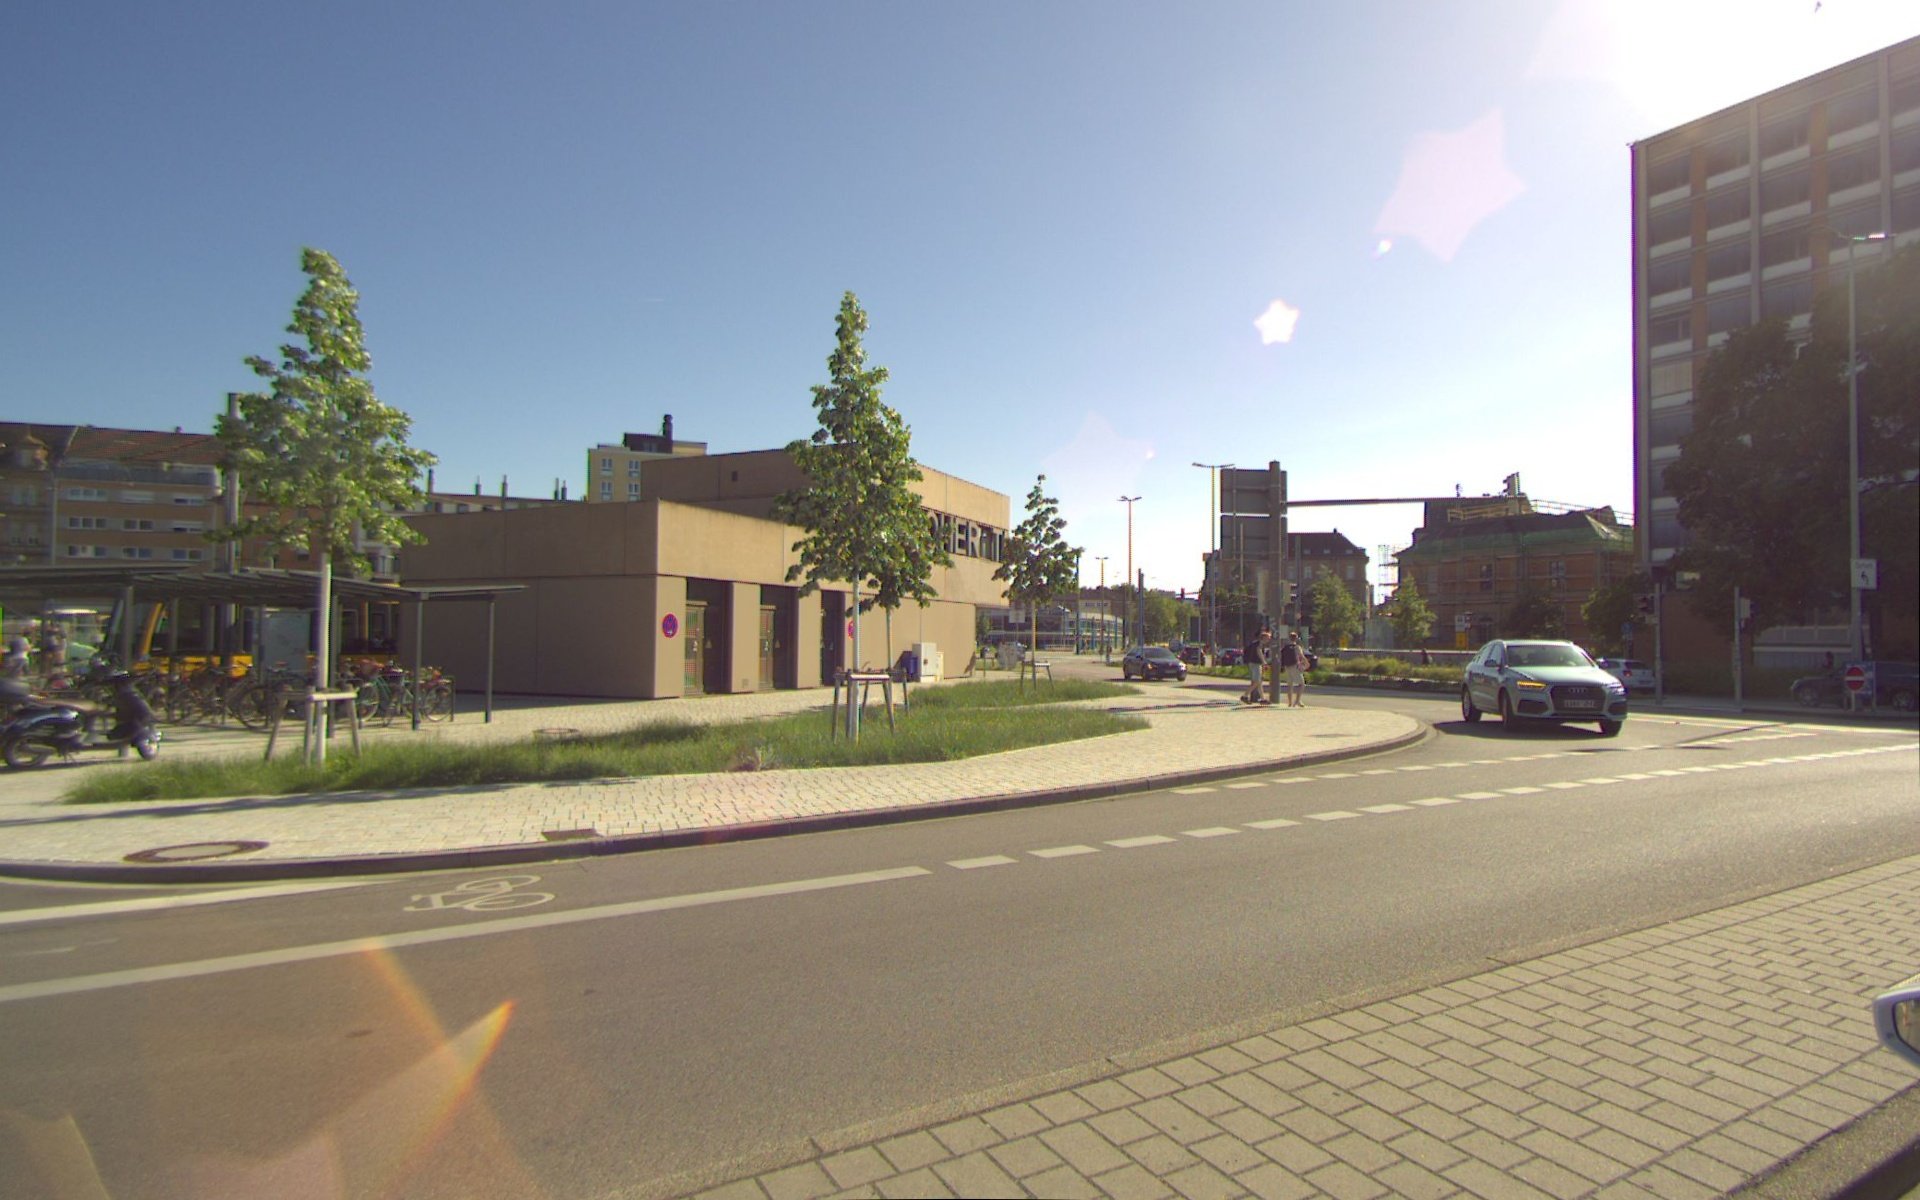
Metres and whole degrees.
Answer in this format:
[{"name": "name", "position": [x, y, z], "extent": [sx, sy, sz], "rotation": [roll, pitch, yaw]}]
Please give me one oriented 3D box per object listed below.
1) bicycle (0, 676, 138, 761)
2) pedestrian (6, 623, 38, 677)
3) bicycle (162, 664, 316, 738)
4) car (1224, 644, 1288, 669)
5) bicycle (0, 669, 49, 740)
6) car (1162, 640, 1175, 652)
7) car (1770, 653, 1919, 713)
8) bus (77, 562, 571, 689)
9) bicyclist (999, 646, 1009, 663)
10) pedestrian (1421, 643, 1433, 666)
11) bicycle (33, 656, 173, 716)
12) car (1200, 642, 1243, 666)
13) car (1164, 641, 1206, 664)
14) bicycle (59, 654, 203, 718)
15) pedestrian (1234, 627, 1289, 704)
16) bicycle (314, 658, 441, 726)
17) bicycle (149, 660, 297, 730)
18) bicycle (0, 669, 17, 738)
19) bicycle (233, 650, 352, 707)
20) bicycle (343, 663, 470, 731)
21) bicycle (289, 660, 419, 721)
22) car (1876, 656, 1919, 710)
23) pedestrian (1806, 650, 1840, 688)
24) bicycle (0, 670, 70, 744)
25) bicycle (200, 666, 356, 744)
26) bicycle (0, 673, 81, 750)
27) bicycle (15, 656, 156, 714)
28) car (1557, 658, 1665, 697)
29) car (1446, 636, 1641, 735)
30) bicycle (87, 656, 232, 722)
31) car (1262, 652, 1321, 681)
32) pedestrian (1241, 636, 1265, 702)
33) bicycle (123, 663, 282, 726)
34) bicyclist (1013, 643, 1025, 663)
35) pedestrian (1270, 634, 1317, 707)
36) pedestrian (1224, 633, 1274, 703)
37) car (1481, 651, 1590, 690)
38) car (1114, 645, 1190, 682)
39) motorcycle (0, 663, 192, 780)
[{"name": "bicycle", "position": [-12.198, 1.574, 13.584], "extent": [0.399, 0.985, 1.683], "rotation": [2, 0, 22]}, {"name": "pedestrian", "position": [-33.436, 1.790, 35.799], "extent": [0.520, 1.896, 0.644], "rotation": [0, -2, 24]}, {"name": "bicycle", "position": [-11.995, 1.653, 16.797], "extent": [0.524, 1.051, 2.070], "rotation": [2, 0, 26]}, {"name": "car", "position": [17.785, 3.394, 60.615], "extent": [1.810, 1.406, 4.894], "rotation": [1, -2, -9]}, {"name": "bicycle", "position": [-14.196, 1.526, 14.382], "extent": [0.399, 0.985, 1.683], "rotation": [2, 0, 22]}, {"name": "car", "position": [38.475, 8.499, 185.379], "extent": [1.959, 2.040, 4.003], "rotation": [0, -2, 7]}, {"name": "car", "position": [28.078, 2.520, 31.140], "extent": [1.814, 1.653, 4.372], "rotation": [1, -2, -16]}, {"name": "bus", "position": [-18.450, 0.870, 31.319], "extent": [2.810, 3.112, 13.620], "rotation": [0, -2, 25]}, {"name": "bicyclist", "position": [3.573, 4.483, 82.452], "extent": [0.674, 1.440, 1.127], "rotation": [0, -4, -6]}, {"name": "pedestrian", "position": [33.014, 3.856, 70.985], "extent": [0.636, 1.637, 0.548], "rotation": [0, -2, 10]}, {"name": "bicycle", "position": [-16.879, 1.678, 19.855], "extent": [0.524, 1.051, 2.070], "rotation": [-2, -2, 26]}, {"name": "car", "position": [19.621, 4.032, 75.512], "extent": [1.809, 1.653, 4.386], "rotation": [1, -2, -4]}, {"name": "car", "position": [16.844, 3.932, 75.277], "extent": [1.809, 1.653, 4.384], "rotation": [1, -2, -6]}, {"name": "bicycle", "position": [-15.898, 1.624, 19.326], "extent": [0.524, 1.051, 2.070], "rotation": [5, 1, 26]}, {"name": "pedestrian", "position": [7.410, 1.620, 24.702], "extent": [1.083, 1.822, 0.704], "rotation": [2, -4, -11]}, {"name": "bicycle", "position": [-10.793, 1.683, 18.705], "extent": [0.594, 1.093, 2.053], "rotation": [2, 0, 25]}, {"name": "bicycle", "position": [-12.894, 1.630, 17.663], "extent": [0.524, 1.051, 2.070], "rotation": [2, 0, 26]}, {"name": "bicycle", "position": [-14.714, 1.541, 14.431], "extent": [0.399, 0.985, 1.683], "rotation": [2, 0, 22]}, {"name": "bicycle", "position": [-13.913, 1.615, 20.999], "extent": [0.524, 1.051, 2.070], "rotation": [2, 0, 26]}, {"name": "bicycle", "position": [-9.963, 1.721, 18.168], "extent": [0.524, 1.051, 2.070], "rotation": [2, 0, 26]}, {"name": "bicycle", "position": [-11.758, 1.733, 19.578], "extent": [0.679, 1.011, 2.140], "rotation": [2, 0, 26]}, {"name": "car", "position": [31.454, 2.615, 30.767], "extent": [1.813, 1.653, 4.826], "rotation": [1, -2, -14]}, {"name": "pedestrian", "position": [36.645, 2.919, 42.639], "extent": [0.550, 1.591, 0.861], "rotation": [0, -4, -14]}, {"name": "bicycle", "position": [-13.692, 1.532, 14.180], "extent": [0.399, 0.985, 1.683], "rotation": [2, 0, 22]}, {"name": "bicycle", "position": [-10.899, 1.650, 16.140], "extent": [0.524, 1.051, 2.070], "rotation": [2, 0, 26]}, {"name": "bicycle", "position": [-13.226, 1.544, 13.819], "extent": [0.399, 0.985, 1.683], "rotation": [2, 0, 22]}, {"name": "bicycle", "position": [-17.768, 1.698, 20.463], "extent": [0.524, 1.051, 2.070], "rotation": [5, 0, 26]}, {"name": "car", "position": [28.227, 3.337, 43.694], "extent": [1.713, 1.454, 3.840], "rotation": [3, -2, -12]}, {"name": "car", "position": [10.530, 1.514, 18.519], "extent": [1.757, 1.602, 4.261], "rotation": [-1, -3, 11]}, {"name": "bicycle", "position": [-15.013, 1.641, 18.912], "extent": [0.524, 1.051, 2.070], "rotation": [5, 1, 26]}, {"name": "car", "position": [20.701, 4.131, 62.896], "extent": [1.810, 1.653, 4.382], "rotation": [1, -2, -8]}, {"name": "pedestrian", "position": [7.898, 1.844, 27.060], "extent": [0.585, 1.751, 0.580], "rotation": [0, -2, 14]}, {"name": "bicycle", "position": [-13.705, 1.678, 18.267], "extent": [0.673, 0.956, 2.233], "rotation": [2, 0, 25]}, {"name": "bicyclist", "position": [4.350, 3.936, 74.429], "extent": [0.727, 1.519, 1.071], "rotation": [1, -3, -6]}, {"name": "pedestrian", "position": [7.949, 1.687, 23.949], "extent": [0.782, 1.711, 0.786], "rotation": [5, -6, -38]}, {"name": "pedestrian", "position": [7.322, 1.730, 25.447], "extent": [0.831, 1.711, 0.896], "rotation": [5, -5, -34]}, {"name": "car", "position": [23.343, 2.840, 40.904], "extent": [1.713, 1.454, 3.839], "rotation": [1, -2, -14]}, {"name": "car", "position": [8.399, 2.802, 44.399], "extent": [1.786, 1.524, 4.780], "rotation": [0, -4, -8]}, {"name": "motorcycle", "position": [-10.844, 1.447, 12.483], "extent": [0.558, 1.235, 2.087], "rotation": [0, -1, 21]}]
